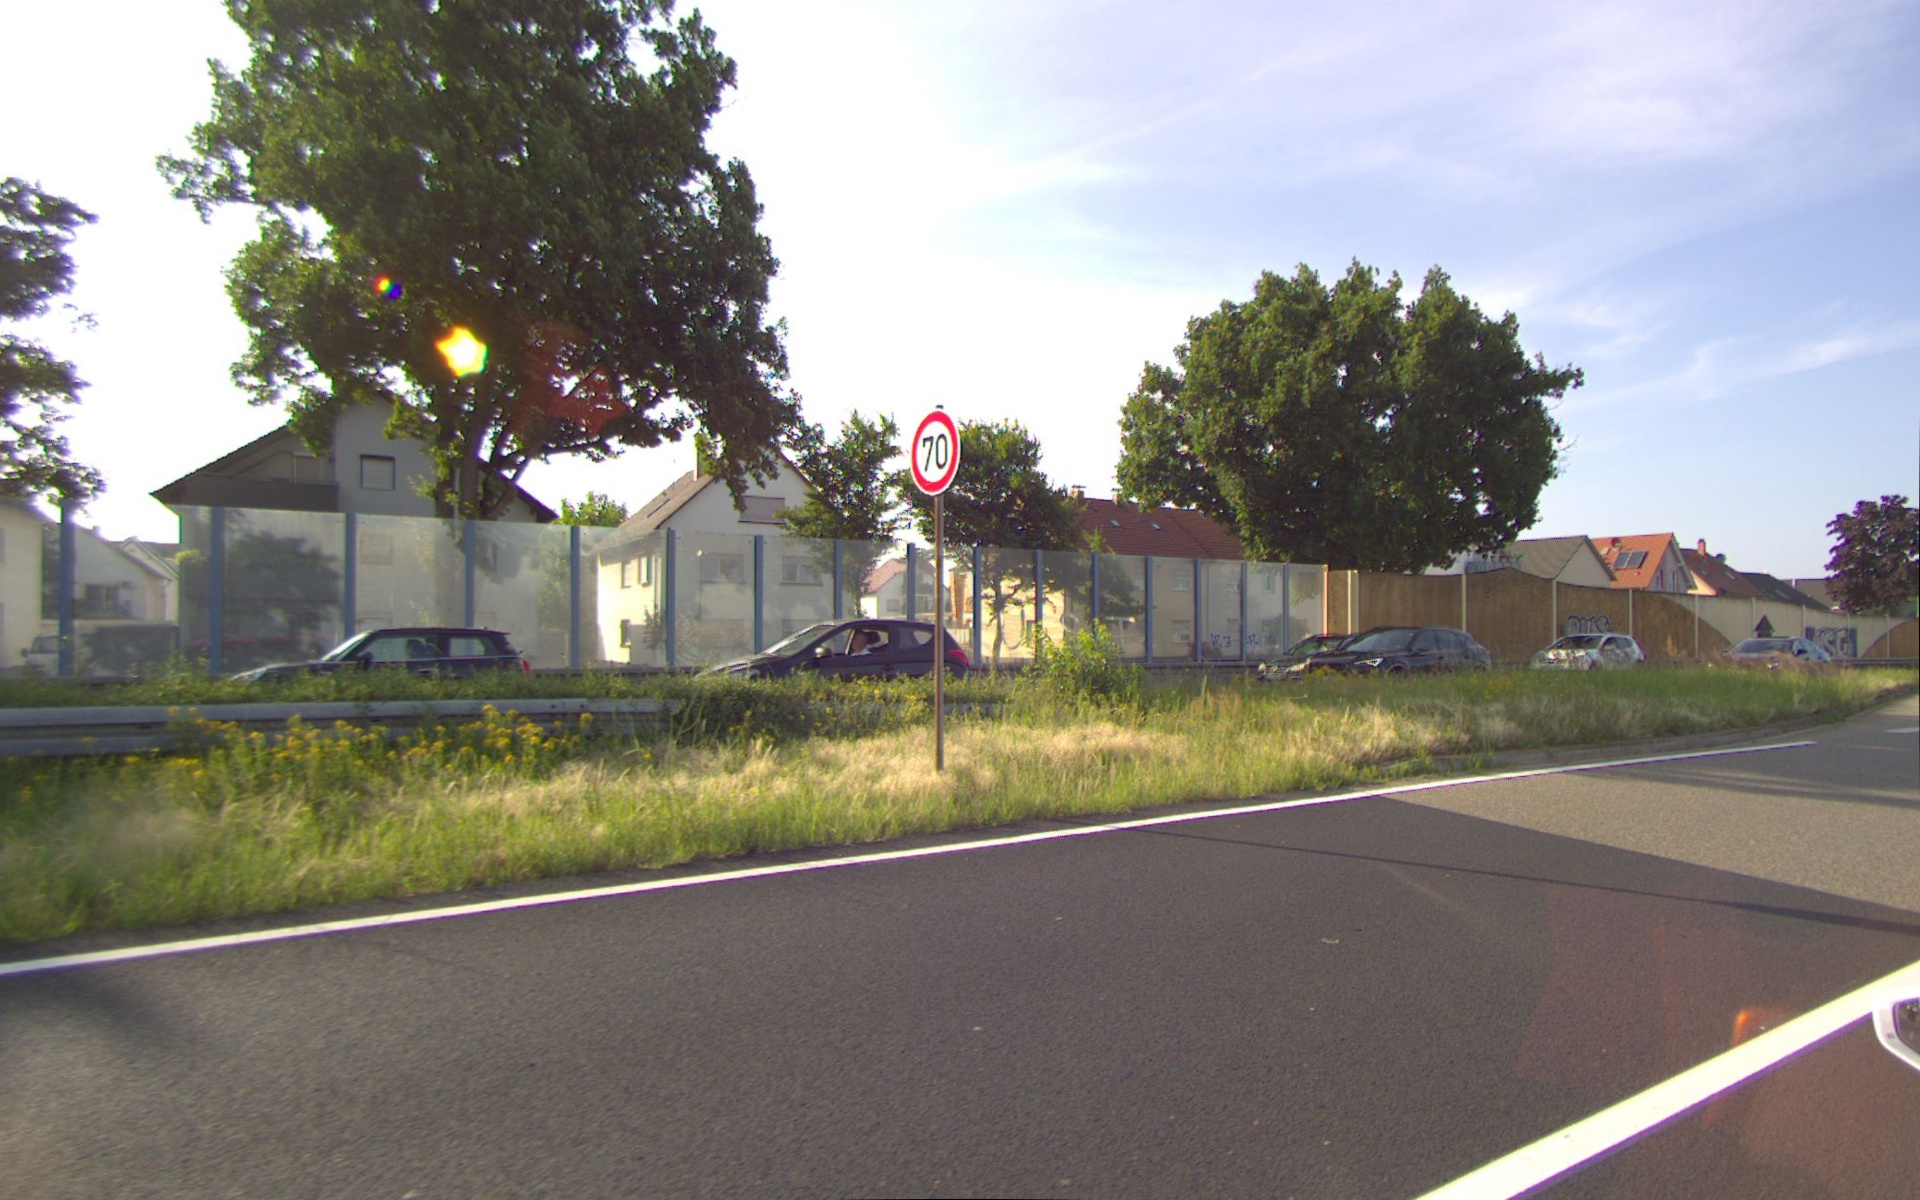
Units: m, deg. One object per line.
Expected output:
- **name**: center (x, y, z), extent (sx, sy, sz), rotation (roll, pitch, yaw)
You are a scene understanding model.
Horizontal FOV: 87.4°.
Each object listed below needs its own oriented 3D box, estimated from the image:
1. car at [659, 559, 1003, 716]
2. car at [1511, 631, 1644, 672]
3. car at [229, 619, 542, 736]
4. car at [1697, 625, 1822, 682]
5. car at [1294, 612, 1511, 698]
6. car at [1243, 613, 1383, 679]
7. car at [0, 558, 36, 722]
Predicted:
- **car**: center (-1.695, 0.478, 13.749), extent (4.321, 1.857, 1.754), rotation (1, 0, -32)
- **car**: center (19.073, 1.562, 30.981), extent (4.360, 1.120, 1.660), rotation (1, 0, -30)
- **car**: center (-7.860, 1.000, 13.991), extent (3.566, 1.397, 1.665), rotation (1, 0, -31)
- **car**: center (22.860, 1.497, 28.688), extent (3.526, 1.461, 1.640), rotation (1, 0, -31)
- **car**: center (8.681, 1.026, 19.577), extent (4.606, 1.484, 1.507), rotation (1, 0, -32)
- **car**: center (8.670, 1.102, 24.643), extent (3.196, 1.484, 1.507), rotation (1, 0, -30)
- **car**: center (-10.981, 0.317, 8.000), extent (5.004, 1.504, 1.970), rotation (1, 0, -32)
